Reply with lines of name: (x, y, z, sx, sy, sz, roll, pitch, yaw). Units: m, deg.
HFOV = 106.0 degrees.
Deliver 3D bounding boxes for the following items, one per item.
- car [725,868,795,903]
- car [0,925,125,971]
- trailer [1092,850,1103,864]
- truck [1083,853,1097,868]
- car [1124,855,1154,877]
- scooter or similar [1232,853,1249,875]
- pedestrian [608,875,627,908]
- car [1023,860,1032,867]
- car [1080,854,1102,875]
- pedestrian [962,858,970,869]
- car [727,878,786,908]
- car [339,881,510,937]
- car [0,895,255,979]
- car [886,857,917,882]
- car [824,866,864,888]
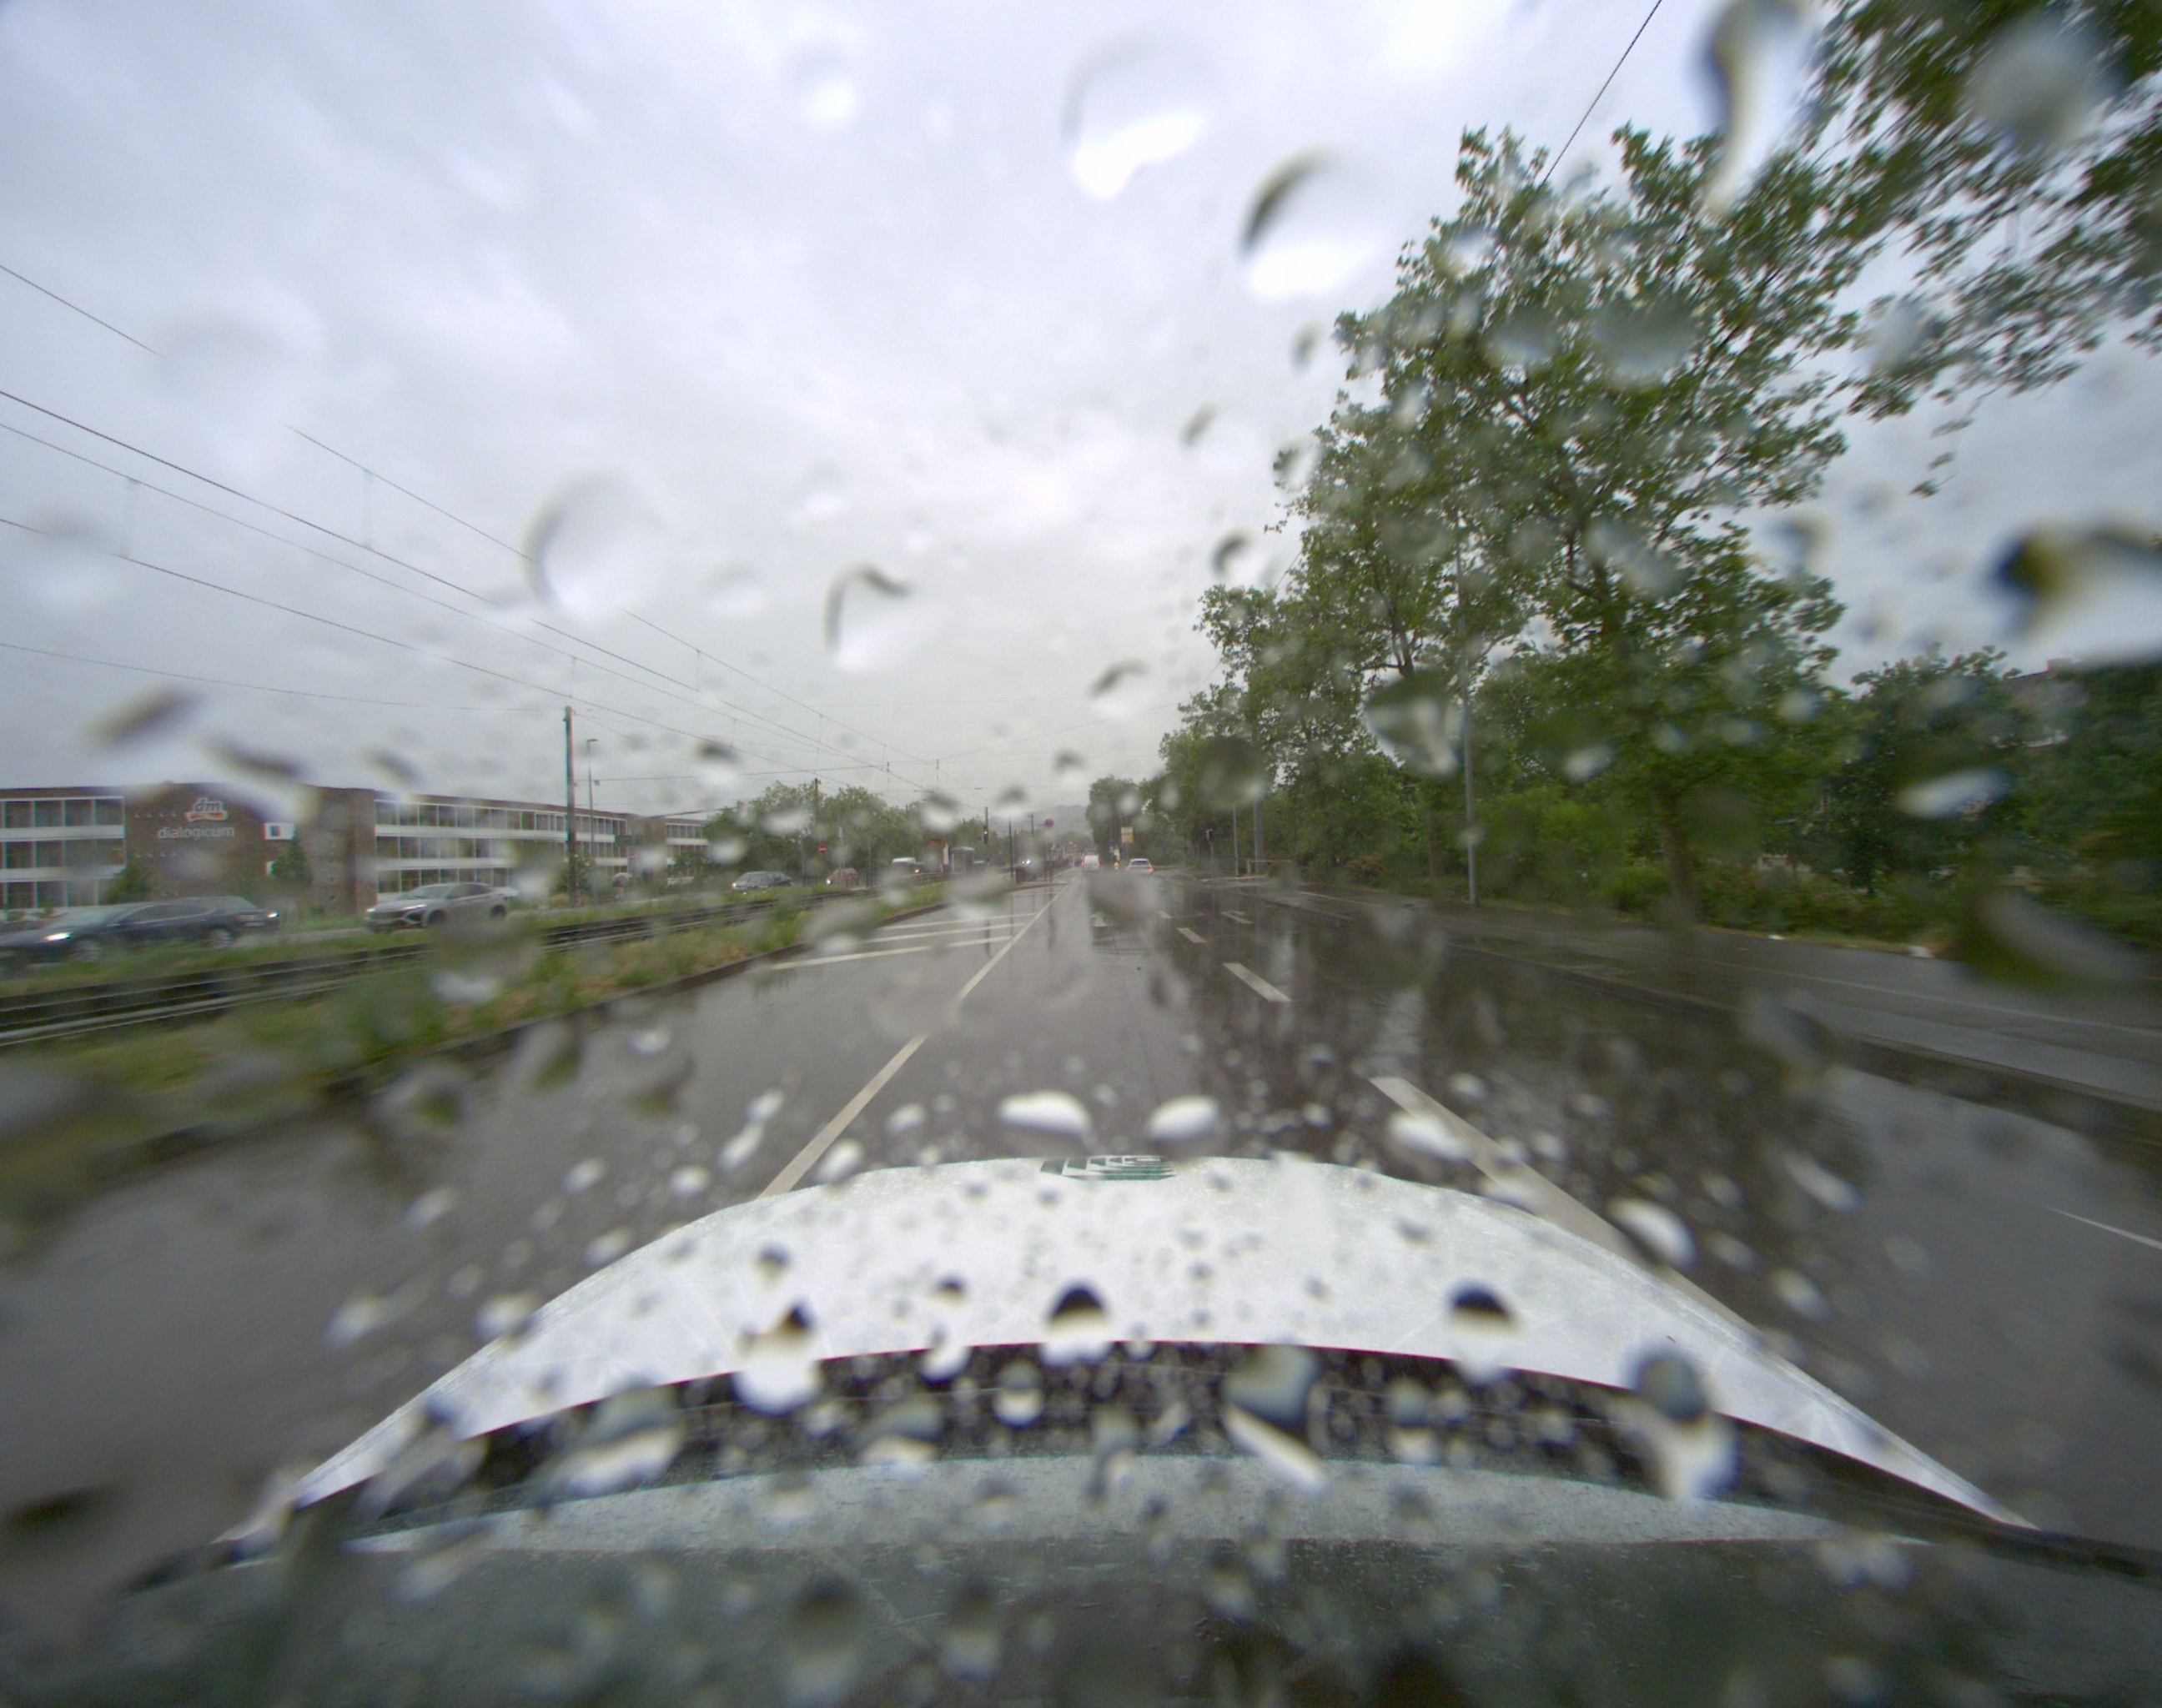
car: (-18.099, 1.723, 46.154, 1.987, 1.596, 4.382, -6, 0, 1)
car: (-38.419, 3.457, 30.095, 4.334, 1.442, 2.005, -1, 0, 9)
trailer: (3.565, 0.627, 174.228, 2.157, 2.757, 5.679, -1, -1, 2)
truck: (2.284, 1.690, 205.620, 2.770, 3.704, 9.839, -1, -1, -3)
car: (3.992, 0.830, 56.423, 1.881, 1.431, 4.001, -2, 0, 1)
scooter or similar: (9.591, 0.589, 49.057, 0.756, 1.293, 1.648, -1, -1, 3)
pedestrian: (-29.084, 2.320, 51.123, 0.696, 2.013, 0.697, -2, 0, 1)
car: (-14.699, 2.628, 222.305, 1.986, 2.014, 4.001, -1, -1, 1)
car: (0.957, 0.979, 77.755, 1.987, 1.849, 3.999, -2, 0, 0)
pedestrian: (-13.903, 1.088, 98.378, 0.828, 1.316, 0.858, -1, 0, 1)
car: (-21.033, 2.514, 52.911, 1.986, 1.596, 4.095, -4, 0, 1)
car: (-20.963, 1.702, 26.302, 1.987, 1.486, 4.298, -2, 0, 0)
car: (-24.420, 2.011, 20.792, 1.987, 1.681, 4.538, -2, 0, 0)
car: (-20.280, 1.697, 92.256, 2.112, 2.712, 5.739, -1, 0, 1)
car: (-20.424, 1.942, 70.380, 1.986, 1.707, 4.625, -1, 0, 1)
